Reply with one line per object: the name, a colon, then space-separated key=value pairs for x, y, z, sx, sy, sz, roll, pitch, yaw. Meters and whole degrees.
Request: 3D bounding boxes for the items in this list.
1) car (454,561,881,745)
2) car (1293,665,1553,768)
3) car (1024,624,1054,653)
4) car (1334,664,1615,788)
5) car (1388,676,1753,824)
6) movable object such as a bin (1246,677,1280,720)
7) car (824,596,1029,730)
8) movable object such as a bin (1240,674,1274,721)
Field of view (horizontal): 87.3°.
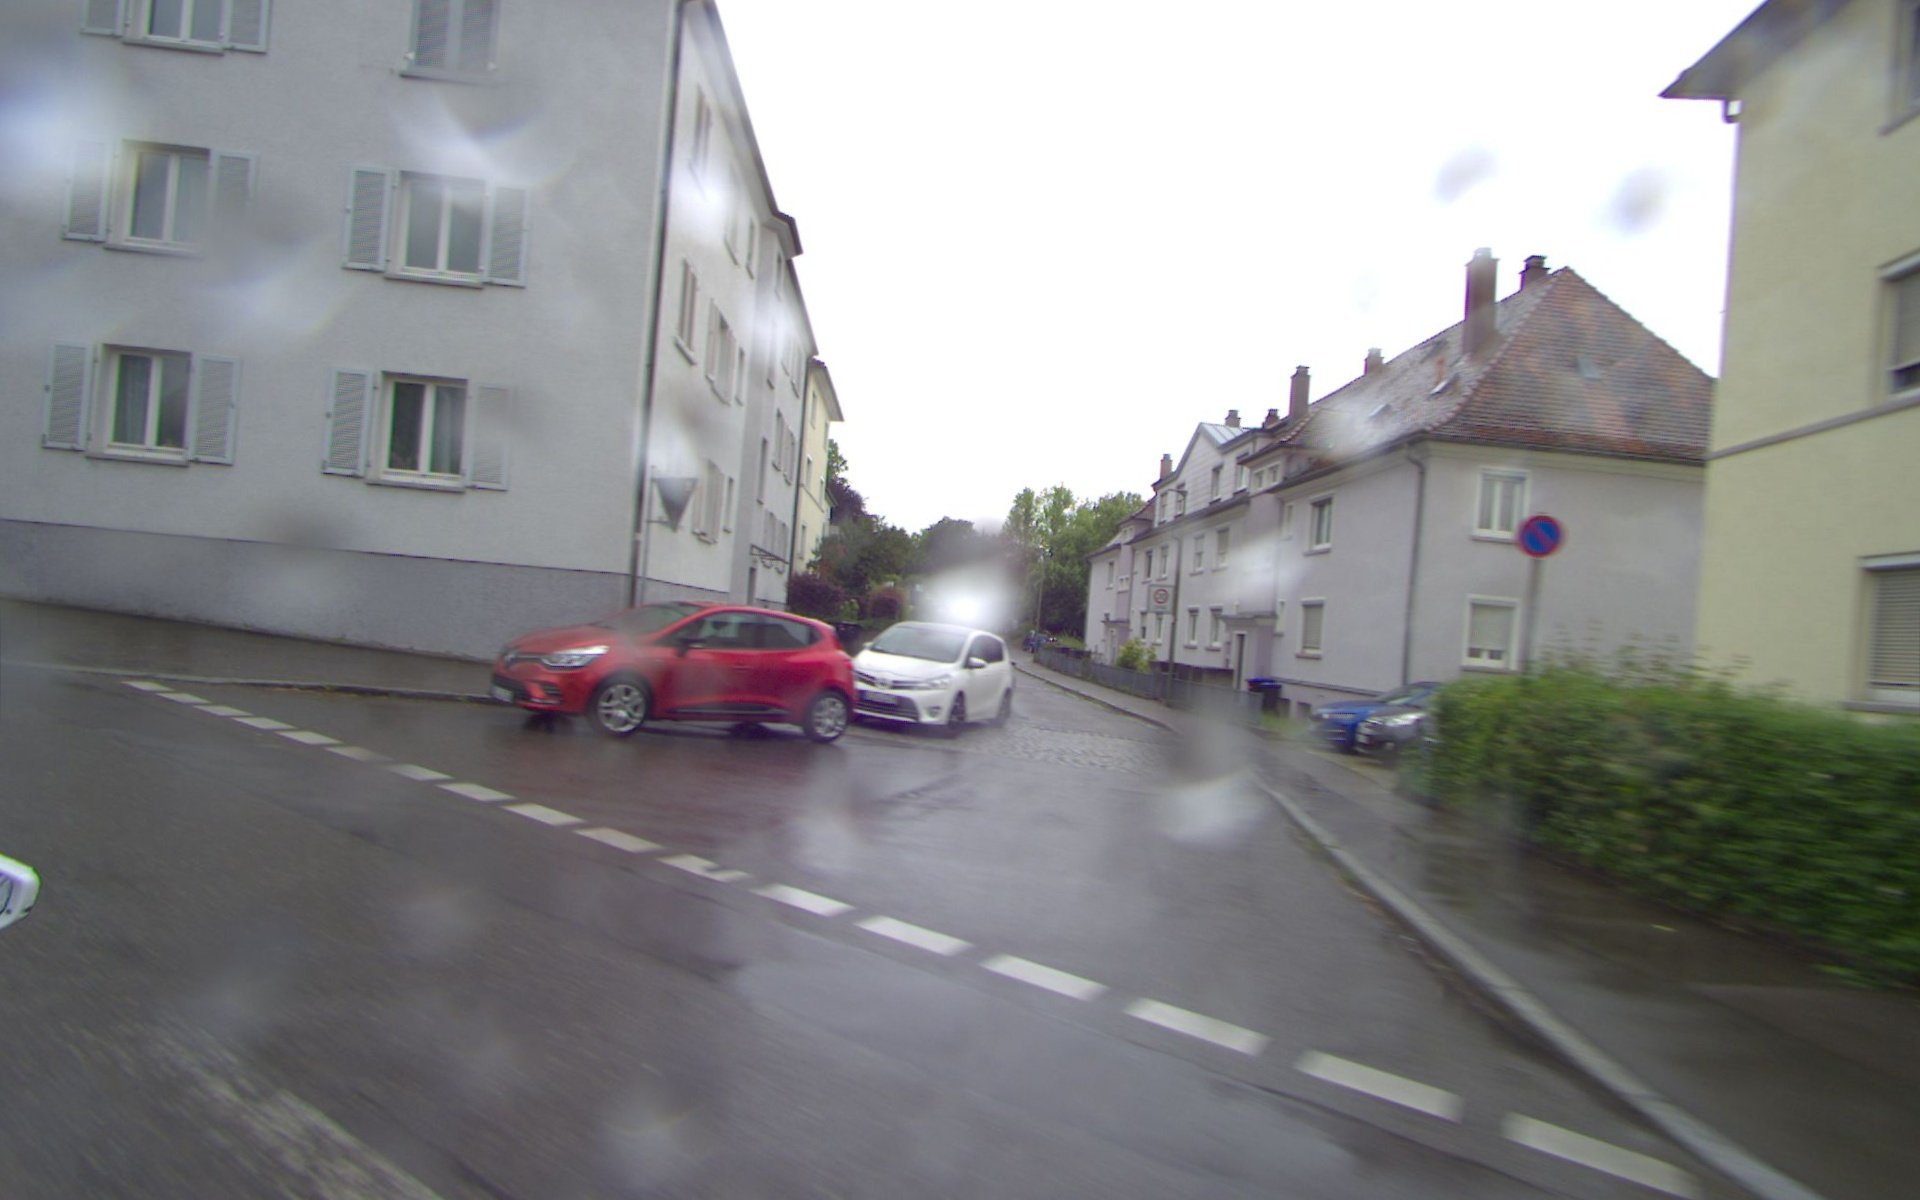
car: x=-3.021 y=0.661 z=11.035 sx=1.702 sy=1.423 sz=4.076 roll=7 pitch=-3 yaw=44
car: x=8.646 y=2.160 z=19.005 sx=4.018 sy=1.424 sz=1.725 roll=6 pitch=-2 yaw=-2
car: x=5.738 y=2.818 z=73.414 sx=1.693 sy=1.807 sz=4.244 roll=9 pitch=-2 yaw=1
car: x=8.301 y=2.000 z=16.469 sx=3.613 sy=1.517 sz=1.726 roll=6 pitch=-2 yaw=1
car: x=8.291 y=2.015 z=13.920 sx=3.897 sy=1.461 sz=1.726 roll=6 pitch=-2 yaw=1
movable object such as a bin: x=8.520 y=2.773 z=28.285 sx=0.634 sy=1.081 sz=0.591 roll=8 pitch=-1 yaw=-2
car: x=-0.351 y=1.045 z=15.902 sx=1.692 sy=1.607 sz=4.246 roll=8 pitch=-2 yaw=18
movable object such as a bin: x=8.508 y=2.789 z=28.811 sx=0.634 sy=1.203 sz=0.591 roll=8 pitch=-1 yaw=-2
